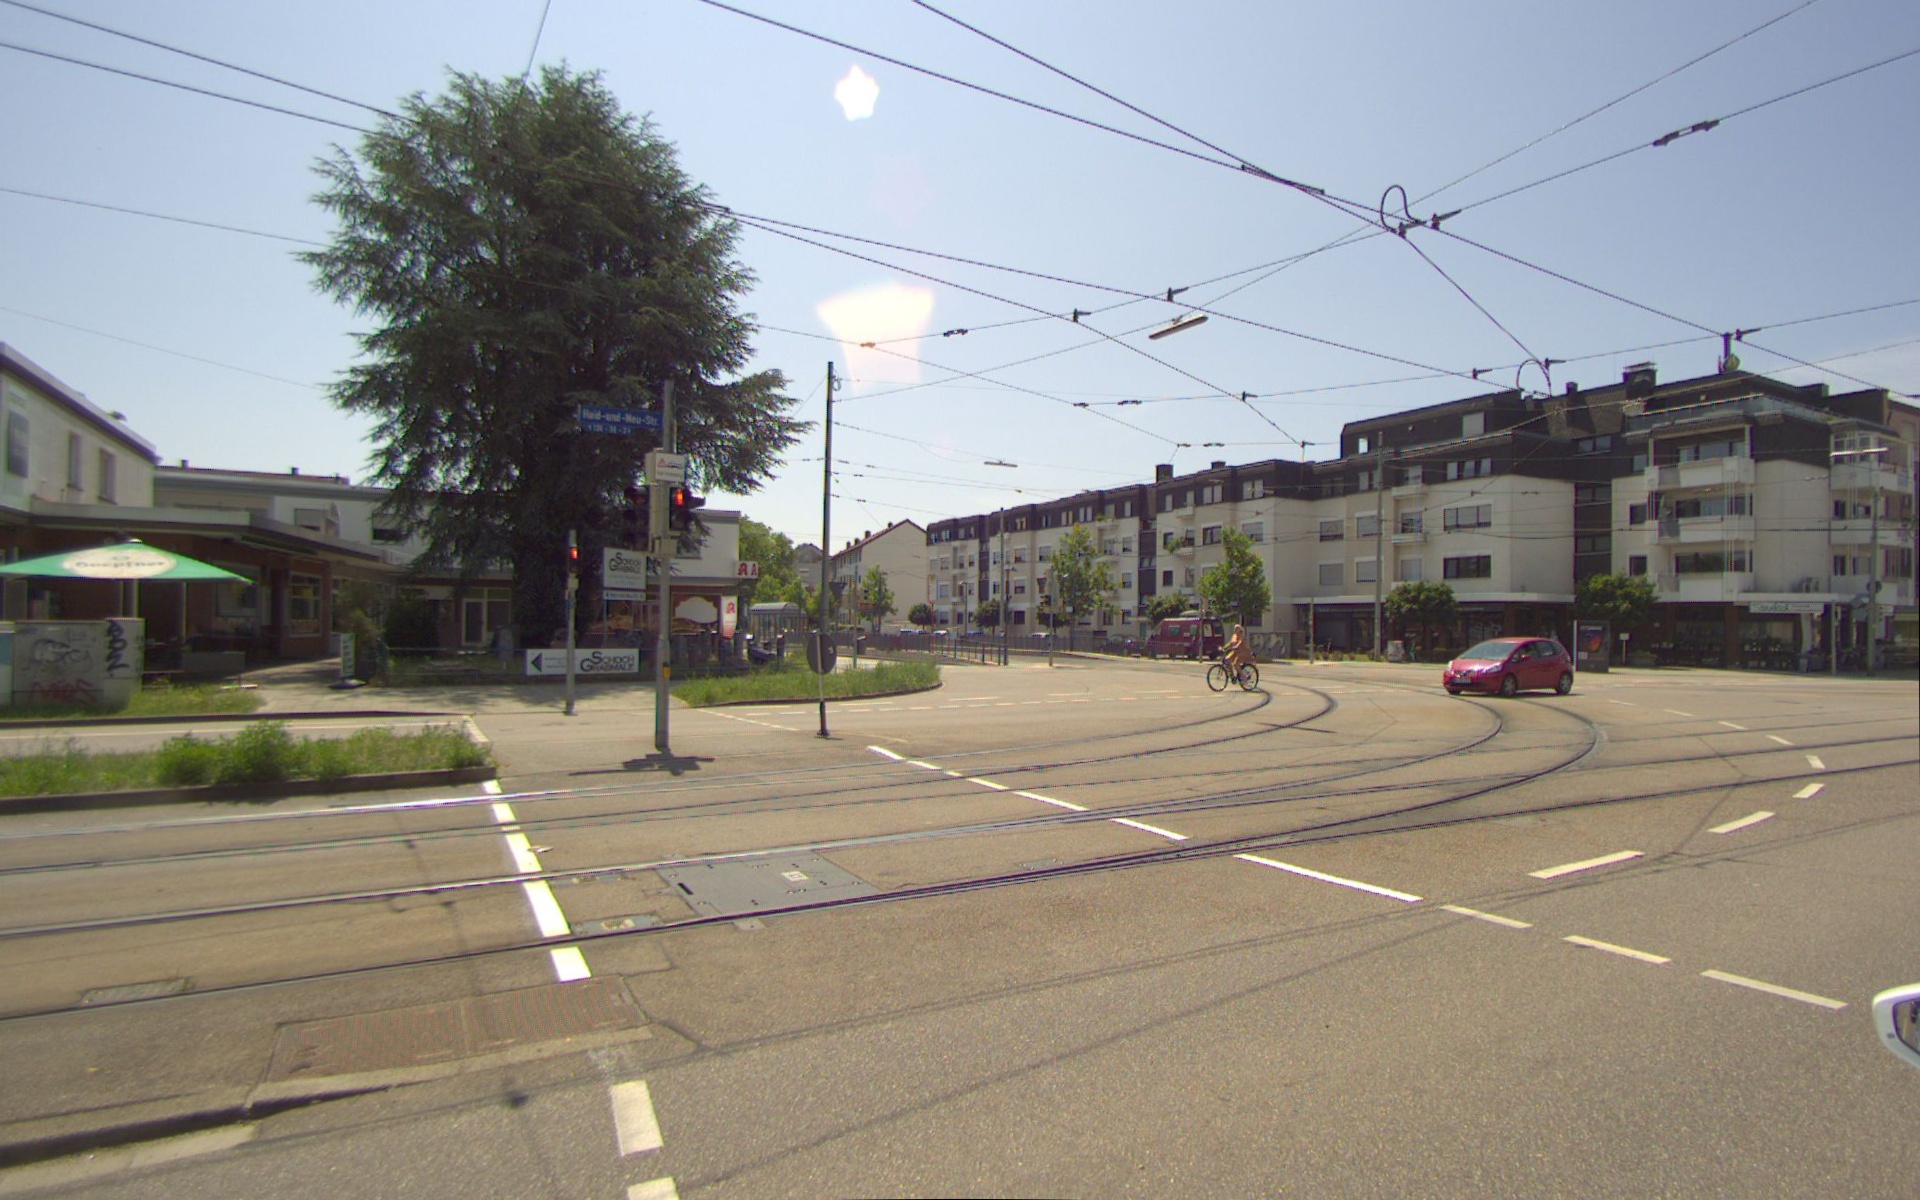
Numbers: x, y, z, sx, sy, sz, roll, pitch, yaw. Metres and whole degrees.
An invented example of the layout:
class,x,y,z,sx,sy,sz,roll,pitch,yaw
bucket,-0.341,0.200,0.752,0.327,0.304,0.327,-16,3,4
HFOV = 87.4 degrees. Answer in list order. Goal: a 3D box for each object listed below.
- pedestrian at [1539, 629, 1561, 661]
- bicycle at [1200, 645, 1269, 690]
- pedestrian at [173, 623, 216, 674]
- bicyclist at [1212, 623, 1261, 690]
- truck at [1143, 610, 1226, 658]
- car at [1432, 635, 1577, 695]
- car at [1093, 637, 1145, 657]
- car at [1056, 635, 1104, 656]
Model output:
class,x,y,z,sx,sy,sz,roll,pitch,yaw
pedestrian,31.506,2.393,53.659,0.797,1.719,0.697,1,-1,-25
bicycle,7.457,1.820,27.288,1.909,1.164,0.691,1,-1,-30
pedestrian,-17.283,1.089,22.692,0.666,1.142,0.515,2,-2,-29
bicyclist,7.527,1.510,27.327,1.124,1.789,0.691,0,-1,-30
truck,13.561,2.055,60.962,2.160,2.734,5.006,1,-2,-28
car,14.674,1.724,27.035,3.780,1.503,1.618,2,-2,-27
car,10.407,3.082,65.890,1.570,1.235,3.555,1,-2,-28
car,8.373,3.165,70.294,1.570,1.452,3.555,1,-2,-28
